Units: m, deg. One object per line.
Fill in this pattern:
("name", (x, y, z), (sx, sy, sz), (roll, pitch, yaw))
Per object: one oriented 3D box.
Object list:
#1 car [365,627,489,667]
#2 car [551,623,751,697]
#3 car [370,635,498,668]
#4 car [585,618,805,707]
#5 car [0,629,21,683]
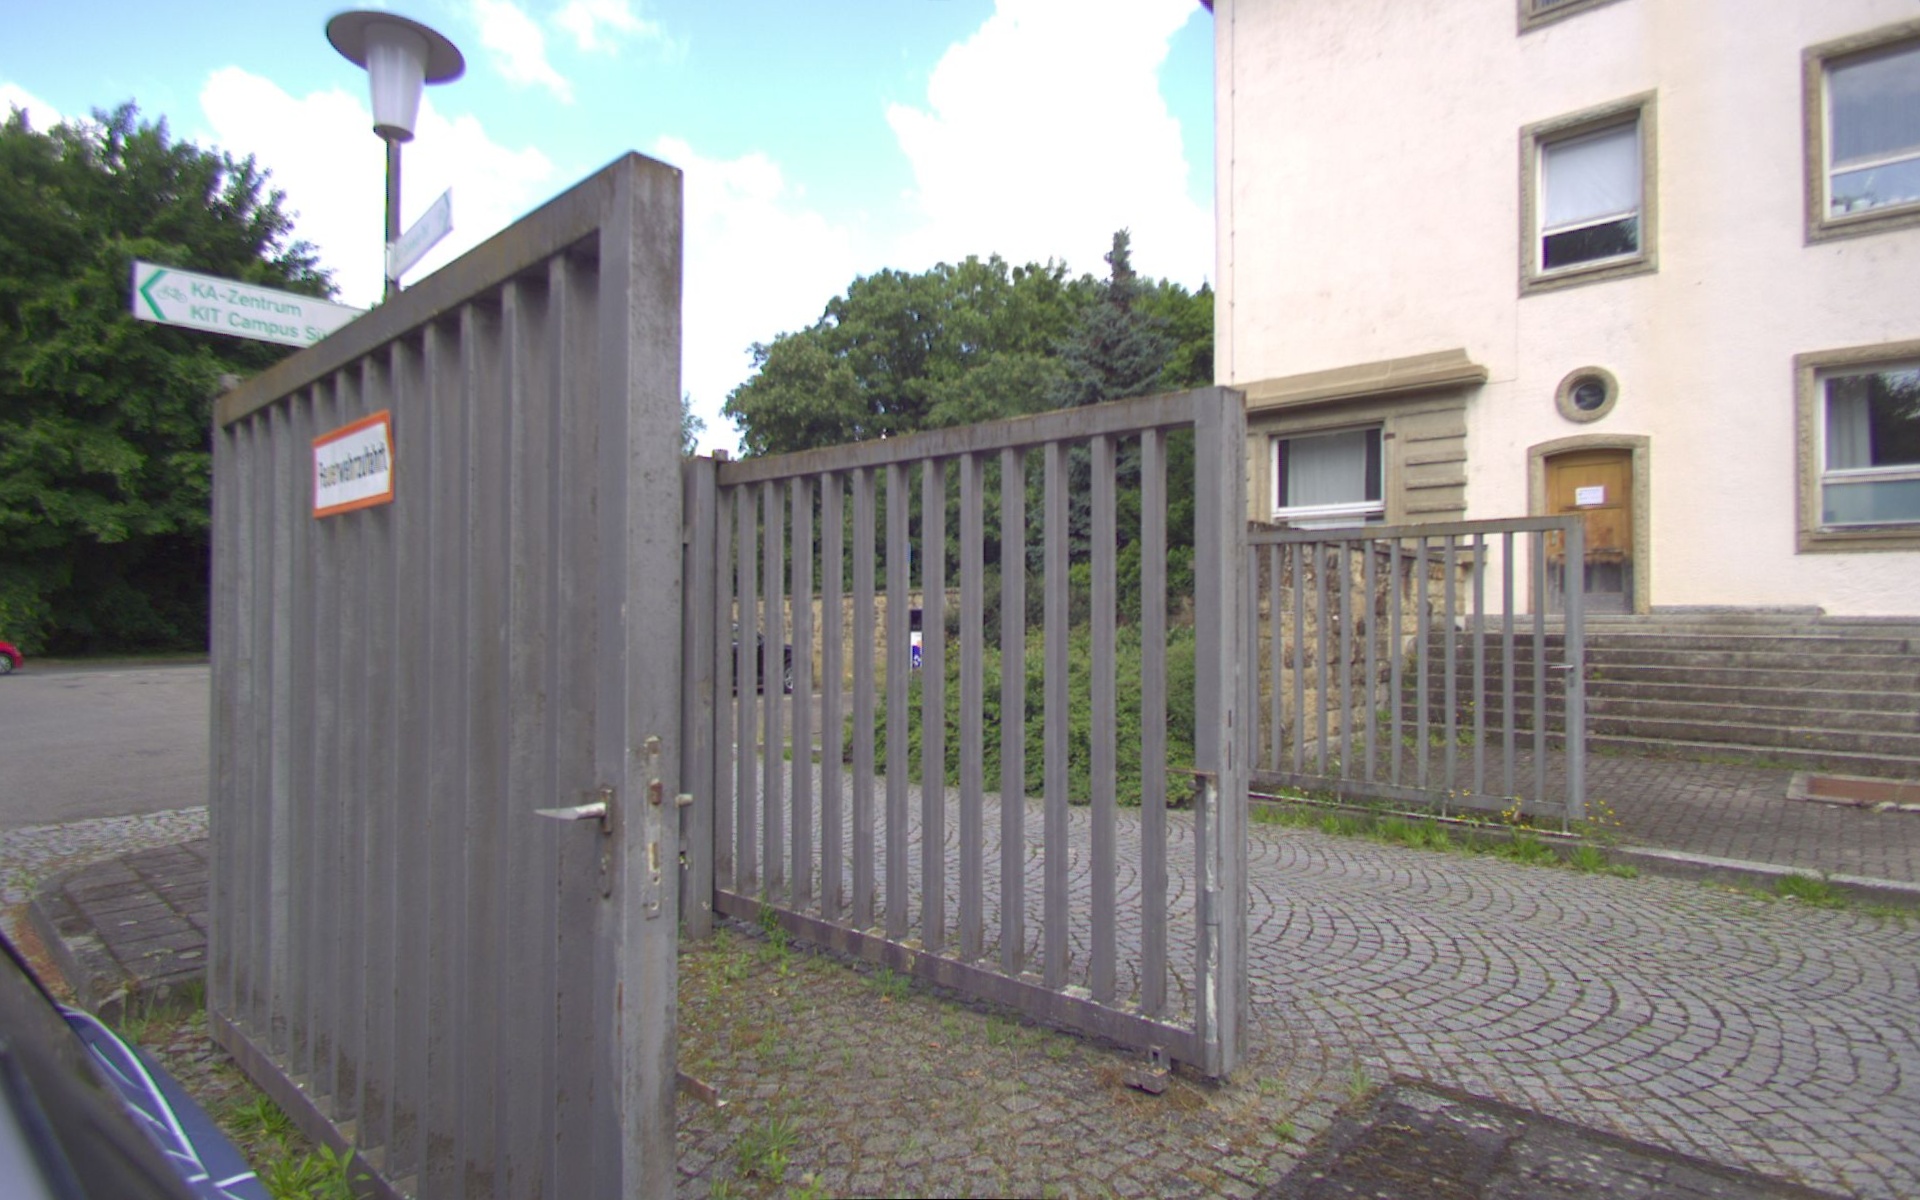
("car", (-22.204, 1.921, 42.348), (1.951, 1.475, 4.501), (0, -1, 19))
("car", (-6.962, 1.292, 23.024), (1.880, 1.452, 3.942), (-2, -1, 44))
("car", (-24.151, 2.346, 46.723), (1.985, 1.389, 5.378), (-1, -2, 19))
("car", (-5.350, 1.196, 20.757), (1.900, 1.558, 3.942), (-2, -1, 44))
("car", (-27.163, 1.468, 25.949), (1.978, 1.475, 4.189), (0, -2, 11))
